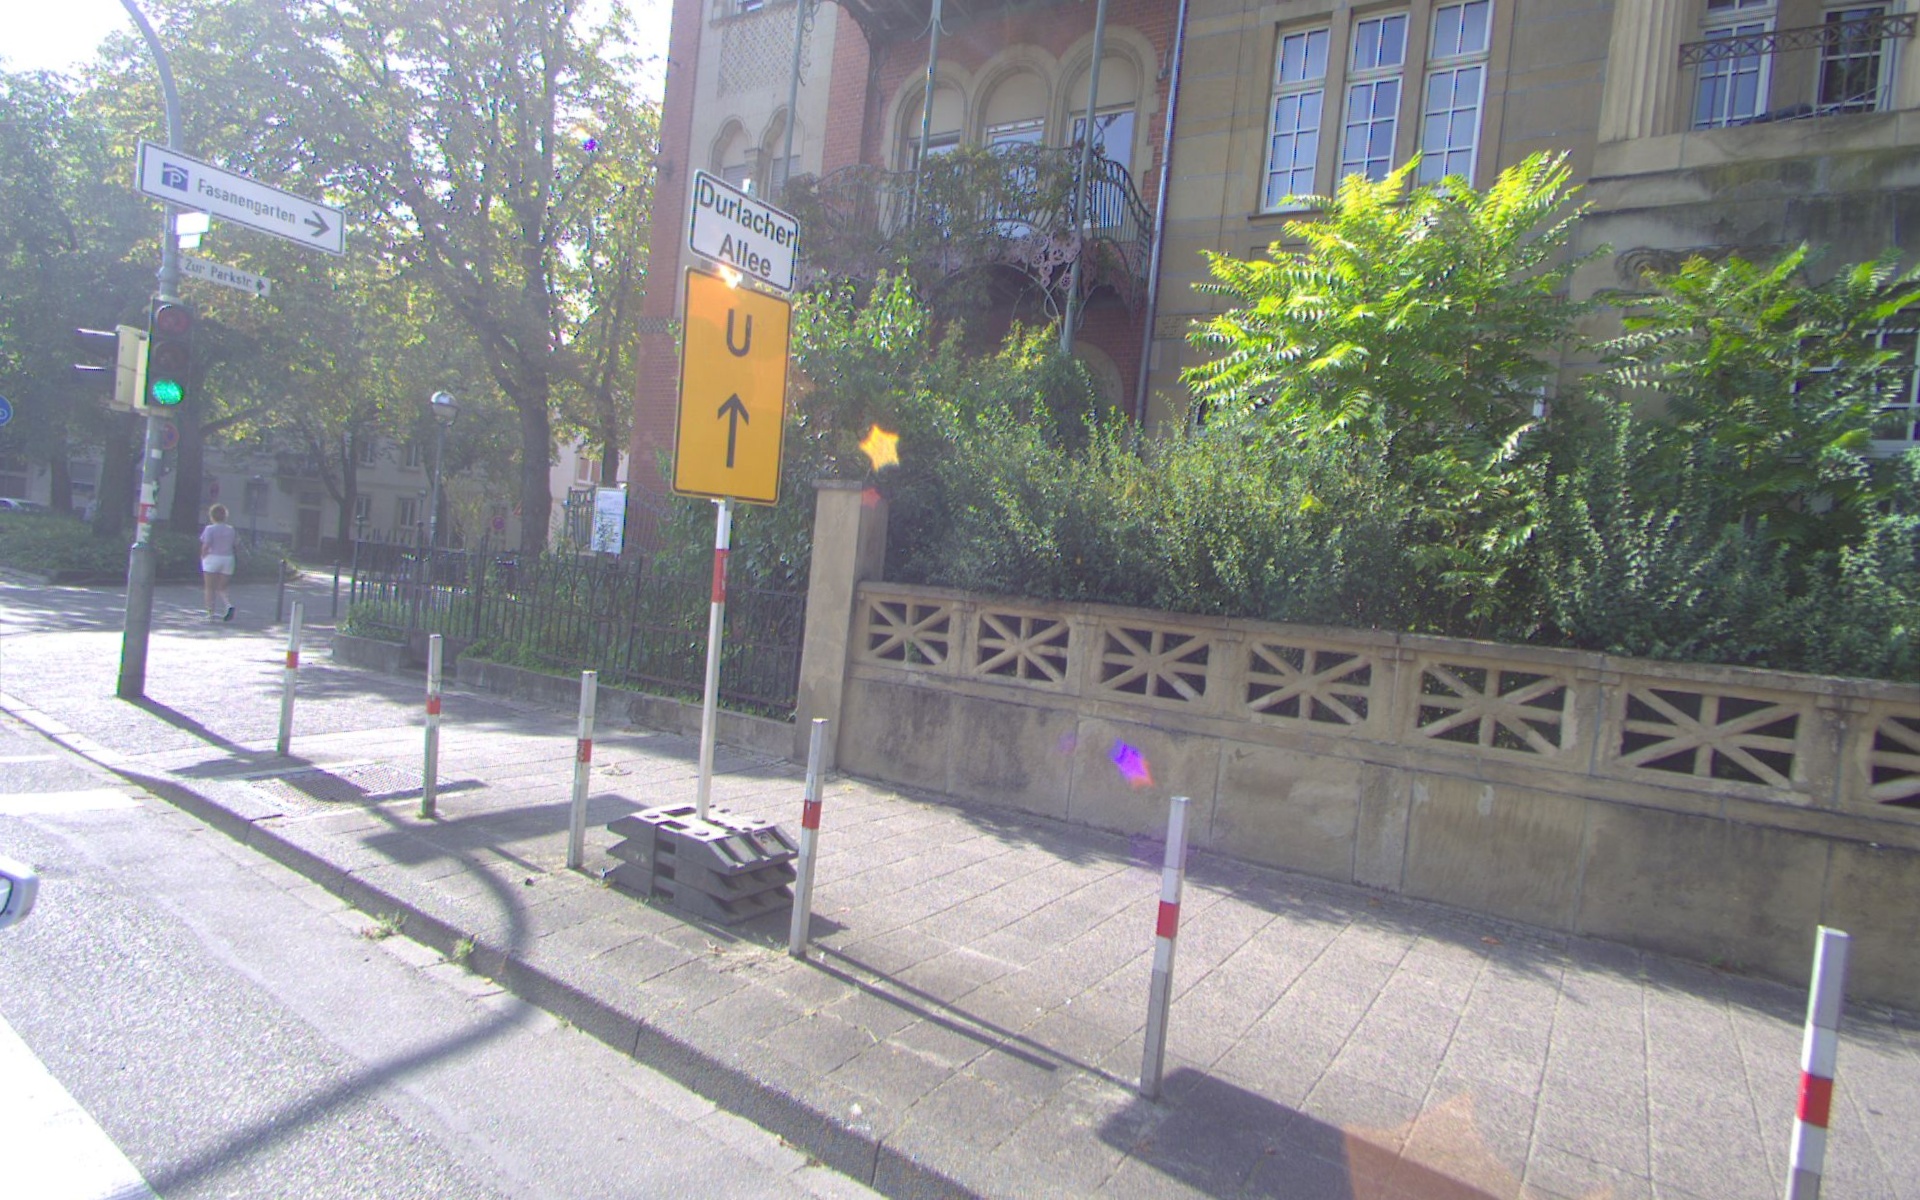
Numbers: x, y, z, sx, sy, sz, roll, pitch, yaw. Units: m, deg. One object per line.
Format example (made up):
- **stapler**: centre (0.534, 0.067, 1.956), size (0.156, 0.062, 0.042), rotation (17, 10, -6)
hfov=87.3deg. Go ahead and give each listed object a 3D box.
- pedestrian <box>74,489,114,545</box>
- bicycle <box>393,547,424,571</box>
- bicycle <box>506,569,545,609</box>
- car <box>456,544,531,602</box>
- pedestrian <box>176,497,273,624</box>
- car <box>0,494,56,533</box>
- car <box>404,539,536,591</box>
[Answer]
- **pedestrian**: centre (-29.317, -2.786, 34.065), size (0.887, 1.762, 0.767), rotation (5, 1, -40)
- **bicycle**: centre (-26.106, -1.941, 47.618), size (1.529, 0.990, 0.425), rotation (6, 1, 28)
- **bicycle**: centre (-11.414, -0.288, 26.469), size (0.418, 0.990, 1.767), rotation (6, 0, -8)
- **car**: centre (-14.585, -0.884, 31.618), size (1.589, 1.534, 4.208), rotation (6, 1, -19)
- **pedestrian**: centre (-10.805, -0.563, 14.784), size (0.757, 1.753, 0.752), rotation (6, 1, 22)
- **car**: centre (-41.908, -3.902, 44.083), size (4.070, 1.447, 1.757), rotation (6, 1, 22)
- **car**: centre (-18.103, -1.255, 37.337), size (3.930, 1.436, 1.857), rotation (6, 0, -8)
